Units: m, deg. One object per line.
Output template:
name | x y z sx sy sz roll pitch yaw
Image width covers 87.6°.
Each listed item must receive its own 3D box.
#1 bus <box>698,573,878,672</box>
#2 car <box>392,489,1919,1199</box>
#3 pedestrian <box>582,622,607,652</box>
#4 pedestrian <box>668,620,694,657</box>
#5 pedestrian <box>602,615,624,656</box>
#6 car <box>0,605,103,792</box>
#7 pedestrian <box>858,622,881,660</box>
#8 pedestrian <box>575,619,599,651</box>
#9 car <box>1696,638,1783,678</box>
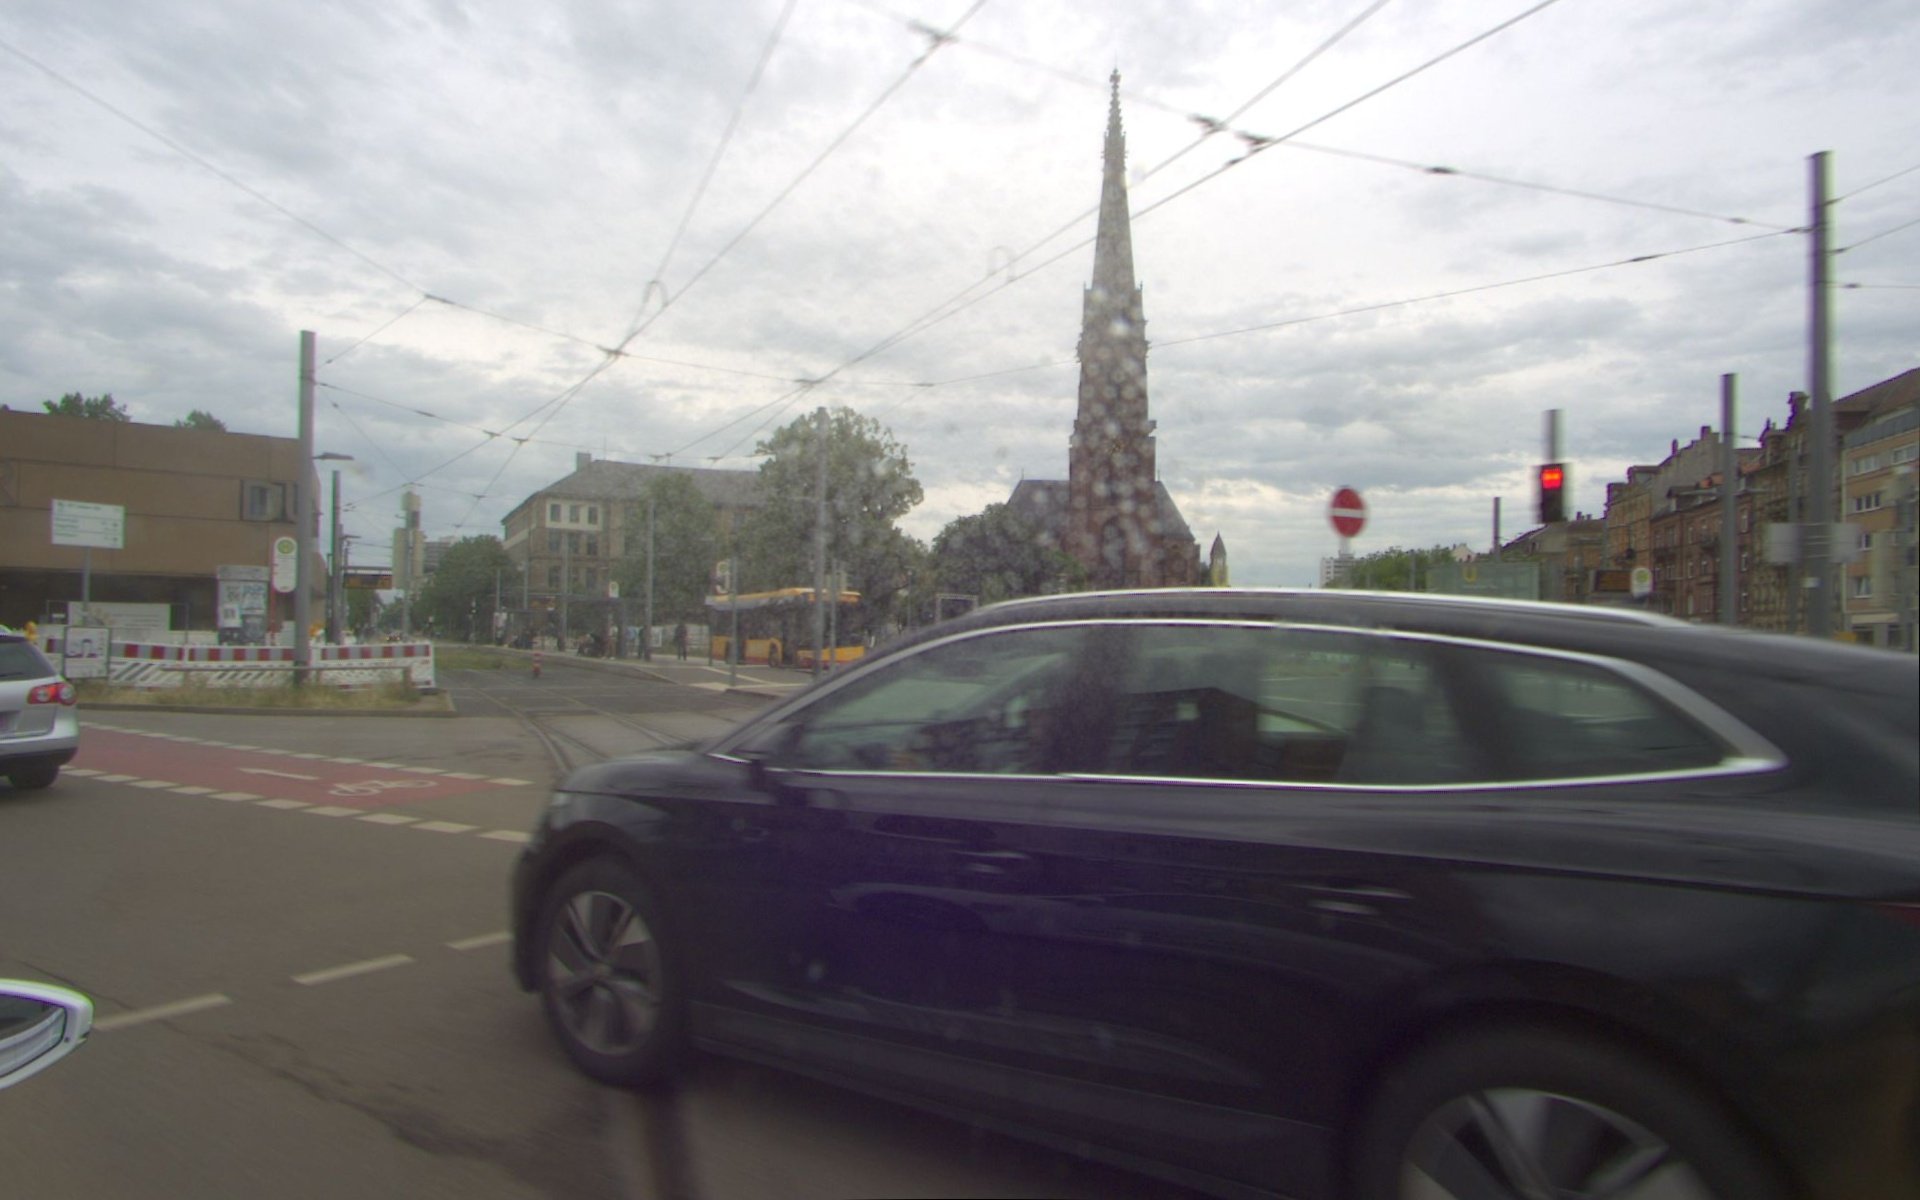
bus | -7.316 0.941 40.003 2.983 3.309 12.981 2 -2 -29
car | 0.295 0.703 3.381 4.448 1.679 1.901 0 -2 31
pedestrian | -17.732 1.786 48.576 1.005 1.420 1.004 2 -1 -25
pedestrian | -12.968 1.786 46.565 0.992 1.666 1.017 2 -1 -26
pedestrian | -15.787 1.609 45.540 0.814 1.831 1.017 1 -1 -26
car | -9.816 0.780 8.899 4.554 1.501 1.720 0 -1 27
pedestrian | -4.626 2.082 51.045 0.814 1.877 1.017 1 -1 -26
pedestrian | -18.770 1.768 50.362 1.006 1.596 1.003 2 -1 -27
car | 36.136 2.658 46.559 1.964 1.772 3.995 0 -2 18
